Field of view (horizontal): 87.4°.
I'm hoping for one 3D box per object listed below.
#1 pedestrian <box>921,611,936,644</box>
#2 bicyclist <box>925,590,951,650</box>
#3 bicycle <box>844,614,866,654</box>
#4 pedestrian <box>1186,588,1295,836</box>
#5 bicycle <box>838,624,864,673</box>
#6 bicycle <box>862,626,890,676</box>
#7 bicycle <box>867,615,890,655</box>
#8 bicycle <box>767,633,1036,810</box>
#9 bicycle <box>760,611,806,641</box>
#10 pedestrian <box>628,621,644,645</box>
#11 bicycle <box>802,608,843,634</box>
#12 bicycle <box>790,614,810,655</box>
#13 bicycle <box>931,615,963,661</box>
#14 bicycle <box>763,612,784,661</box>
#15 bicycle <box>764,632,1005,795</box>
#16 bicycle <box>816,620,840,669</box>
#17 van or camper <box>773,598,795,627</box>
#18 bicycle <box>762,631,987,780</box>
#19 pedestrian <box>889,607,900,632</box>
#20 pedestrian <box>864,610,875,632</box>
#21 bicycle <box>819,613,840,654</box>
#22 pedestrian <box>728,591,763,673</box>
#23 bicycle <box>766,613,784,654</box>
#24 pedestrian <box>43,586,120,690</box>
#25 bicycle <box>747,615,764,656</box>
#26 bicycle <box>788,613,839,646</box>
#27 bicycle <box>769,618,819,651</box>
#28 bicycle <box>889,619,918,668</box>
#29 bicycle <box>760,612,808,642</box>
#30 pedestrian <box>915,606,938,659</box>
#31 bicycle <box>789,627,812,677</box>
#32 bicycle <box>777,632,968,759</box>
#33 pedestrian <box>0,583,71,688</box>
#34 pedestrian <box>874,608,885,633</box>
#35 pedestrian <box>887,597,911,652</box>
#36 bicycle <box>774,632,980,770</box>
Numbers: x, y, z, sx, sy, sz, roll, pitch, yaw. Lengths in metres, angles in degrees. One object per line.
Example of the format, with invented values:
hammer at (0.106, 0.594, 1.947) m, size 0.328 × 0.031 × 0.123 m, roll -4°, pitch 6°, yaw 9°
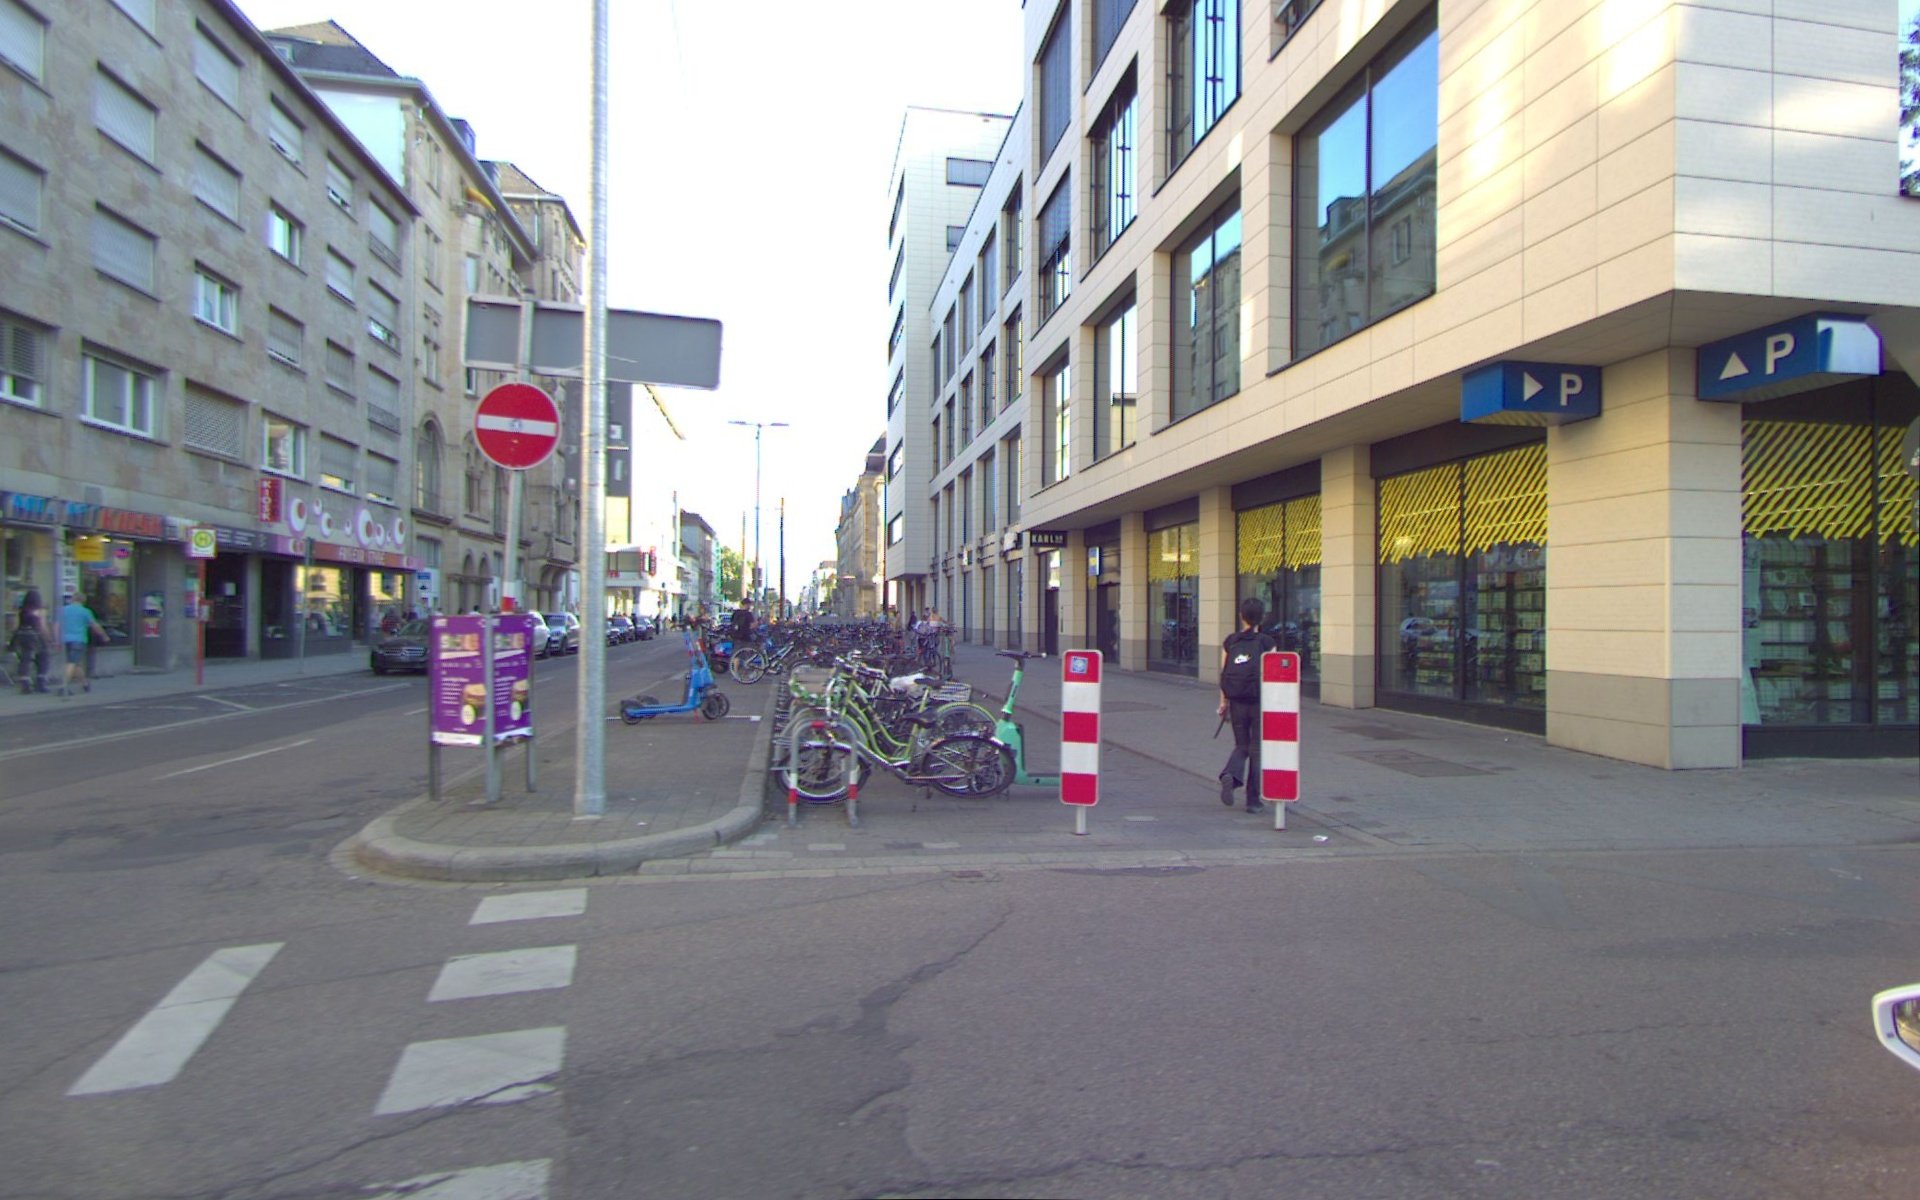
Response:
pedestrian at (-1.628, 1.412, 51.775) m, size 0.672 × 1.718 × 0.643 m, roll 0°, pitch 0°, yaw -11°
bicyclist at (-0.642, 0.583, 29.402) m, size 0.672 × 1.718 × 0.643 m, roll 0°, pitch 0°, yaw -9°
bicycle at (-3.480, 1.112, 33.294) m, size 0.504 × 1.271 × 1.974 m, roll 1°, pitch 0°, yaw -12°
pedestrian at (2.067, 0.761, 7.343) m, size 0.607 × 1.680 × 0.871 m, roll 1°, pitch 0°, yaw 26°
bicycle at (-3.024, 1.319, 27.713) m, size 0.504 × 1.271 × 1.974 m, roll 1°, pitch 0°, yaw -12°
bicycle at (-2.337, 1.388, 27.770) m, size 0.504 × 1.271 × 1.974 m, roll 1°, pitch 0°, yaw -12°
bicycle at (-2.731, 1.157, 33.491) m, size 0.504 × 1.271 × 1.974 m, roll 1°, pitch 0°, yaw -12°
bicycle at (-0.463, 0.916, 7.825) m, size 2.009 × 1.271 × 0.581 m, roll 1°, pitch 0°, yaw -14°
bicycle at (-7.910, 1.168, 44.952) m, size 1.948 × 1.271 × 0.511 m, roll 1°, pitch 0°, yaw -19°
pedestrian at (-19.386, 1.961, 60.091) m, size 0.907 × 1.448 × 0.401 m, roll 0°, pitch 0°, yaw -14°
bicycle at (-6.925, 1.060, 50.630) m, size 1.948 × 1.271 × 0.511 m, roll 1°, pitch 0°, yaw -19°
bicycle at (-5.274, 1.122, 33.061) m, size 0.504 × 1.271 × 1.974 m, roll 1°, pitch 0°, yaw -12°
bicycle at (-0.395, 1.092, 29.468) m, size 0.601 × 1.271 × 1.975 m, roll 1°, pitch 0°, yaw -10°
bicycle at (-5.076, 0.972, 27.309) m, size 0.504 × 1.271 × 1.974 m, roll 1°, pitch 0°, yaw -12°
bicycle at (-0.637, 0.928, 8.440) m, size 1.945 × 1.271 × 0.512 m, roll 1°, pitch 0°, yaw -14°
bicycle at (-3.636, 1.203, 27.560) m, size 0.504 × 1.271 × 1.974 m, roll 1°, pitch 0°, yaw -12°
van or camper at (-21.303, 1.501, 121.698) m, size 1.962 × 3.317 × 5.160 m, roll 0°, pitch 0°, yaw -4°
bicycle at (-0.769, 0.934, 9.049) m, size 1.943 × 1.271 × 0.512 m, roll 1°, pitch 0°, yaw -9°
pedestrian at (-4.501, 1.335, 68.699) m, size 0.672 × 1.718 × 0.643 m, roll 0°, pitch 0°, yaw -11°
pedestrian at (-6.148, 1.425, 68.170) m, size 0.672 × 1.444 × 0.643 m, roll 0°, pitch 0°, yaw -11°
bicycle at (-4.331, 1.085, 33.245) m, size 0.504 × 1.271 × 1.974 m, roll 1°, pitch 0°, yaw -12°
pedestrian at (-4.574, 0.678, 21.447) m, size 0.671 × 1.718 × 0.643 m, roll 0°, pitch 0°, yaw -7°
bicycle at (-6.074, 1.085, 32.875) m, size 0.504 × 1.271 × 1.974 m, roll 1°, pitch 0°, yaw -12°
pedestrian at (-15.023, 0.644, 17.198) m, size 0.653 × 1.730 × 0.802 m, roll 1°, pitch 0°, yaw -10°
bicycle at (-6.671, 1.130, 32.730) m, size 0.504 × 1.271 × 1.974 m, roll 1°, pitch 0°, yaw -12°
bicycle at (-5.799, 1.176, 39.777) m, size 1.944 × 1.271 × 0.512 m, roll 1°, pitch 0°, yaw -11°
bicycle at (-6.711, 1.397, 40.631) m, size 1.948 × 1.271 × 0.511 m, roll 1°, pitch 0°, yaw -19°
bicycle at (-1.578, 1.175, 27.772) m, size 0.504 × 1.271 × 1.974 m, roll 1°, pitch 0°, yaw -12°
bicycle at (-7.548, 1.163, 43.069) m, size 1.948 × 1.271 × 0.511 m, roll 1°, pitch 0°, yaw -19°
pedestrian at (-1.107, 1.048, 32.980) m, size 0.672 × 1.718 × 0.643 m, roll 0°, pitch 0°, yaw -11°
bicycle at (-4.377, 1.387, 27.419) m, size 0.504 × 1.271 × 1.974 m, roll 1°, pitch 0°, yaw -12°
bicycle at (-0.926, 0.991, 10.590) m, size 1.944 × 1.271 × 0.512 m, roll 1°, pitch 0°, yaw -13°
pedestrian at (-15.734, 0.587, 17.019) m, size 0.653 × 1.730 × 0.802 m, roll 1°, pitch 0°, yaw -10°
pedestrian at (-5.503, 1.374, 68.419) m, size 0.672 × 1.683 × 0.643 m, roll 0°, pitch 0°, yaw -11°
pedestrian at (-1.928, 0.757, 31.816) m, size 0.672 × 1.718 × 0.643 m, roll 0°, pitch 0°, yaw -11°
bicycle at (-0.816, 0.966, 9.810) m, size 1.944 × 1.271 × 0.512 m, roll 1°, pitch 0°, yaw -11°
